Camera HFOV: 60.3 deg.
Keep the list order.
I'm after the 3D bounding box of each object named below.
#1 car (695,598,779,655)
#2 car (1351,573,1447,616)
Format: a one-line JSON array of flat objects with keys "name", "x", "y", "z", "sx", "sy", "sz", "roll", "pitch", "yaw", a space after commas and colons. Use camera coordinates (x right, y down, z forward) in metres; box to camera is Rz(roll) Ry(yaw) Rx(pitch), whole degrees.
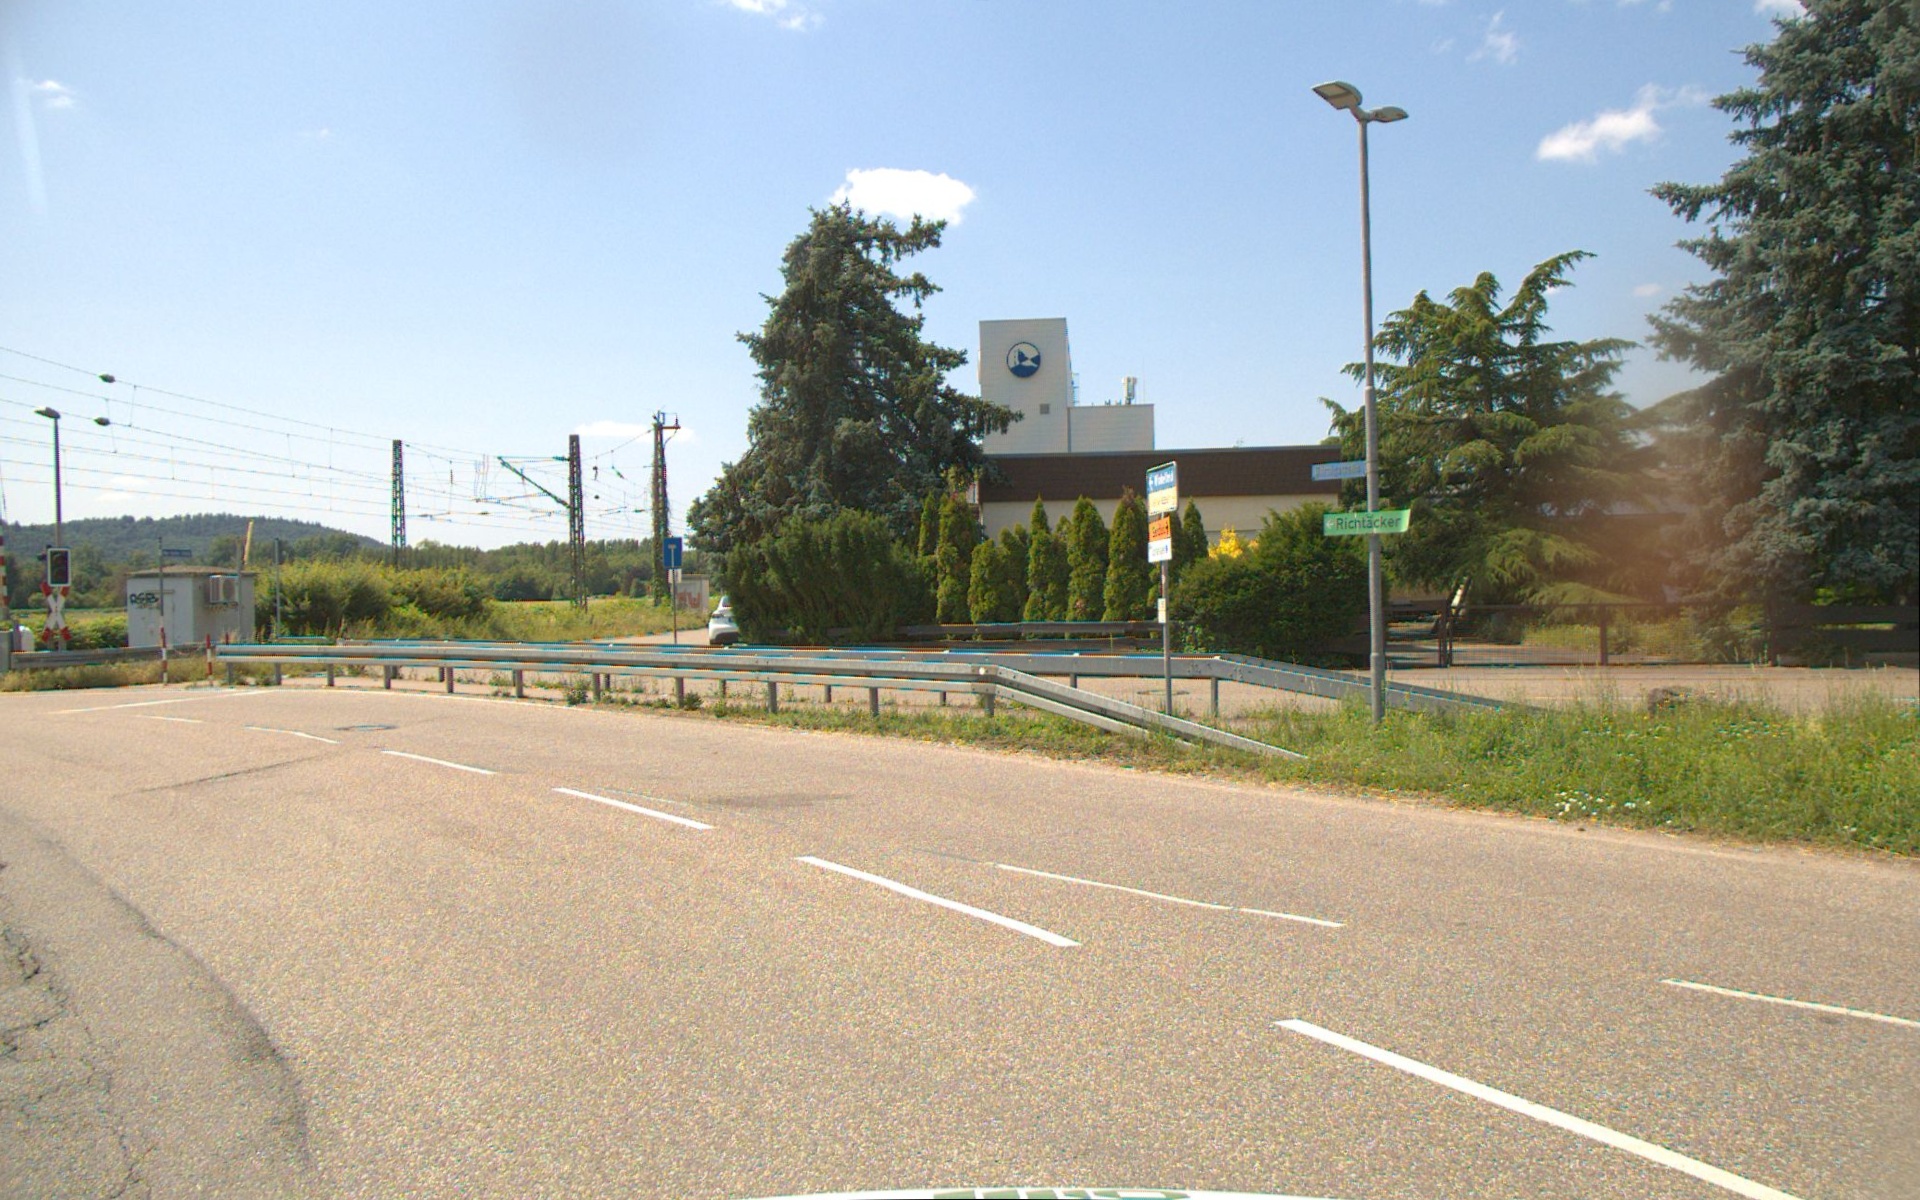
[{"name": "car", "x": -6.747, "y": 0.770, "z": 50.420, "sx": 1.953, "sy": 1.536, "sz": 4.454, "roll": -2, "pitch": 1, "yaw": -1}, {"name": "car", "x": 17.683, "y": -0.217, "z": 66.709, "sx": 3.451, "sy": 1.613, "sz": 1.566, "roll": -1, "pitch": 1, "yaw": 1}]
